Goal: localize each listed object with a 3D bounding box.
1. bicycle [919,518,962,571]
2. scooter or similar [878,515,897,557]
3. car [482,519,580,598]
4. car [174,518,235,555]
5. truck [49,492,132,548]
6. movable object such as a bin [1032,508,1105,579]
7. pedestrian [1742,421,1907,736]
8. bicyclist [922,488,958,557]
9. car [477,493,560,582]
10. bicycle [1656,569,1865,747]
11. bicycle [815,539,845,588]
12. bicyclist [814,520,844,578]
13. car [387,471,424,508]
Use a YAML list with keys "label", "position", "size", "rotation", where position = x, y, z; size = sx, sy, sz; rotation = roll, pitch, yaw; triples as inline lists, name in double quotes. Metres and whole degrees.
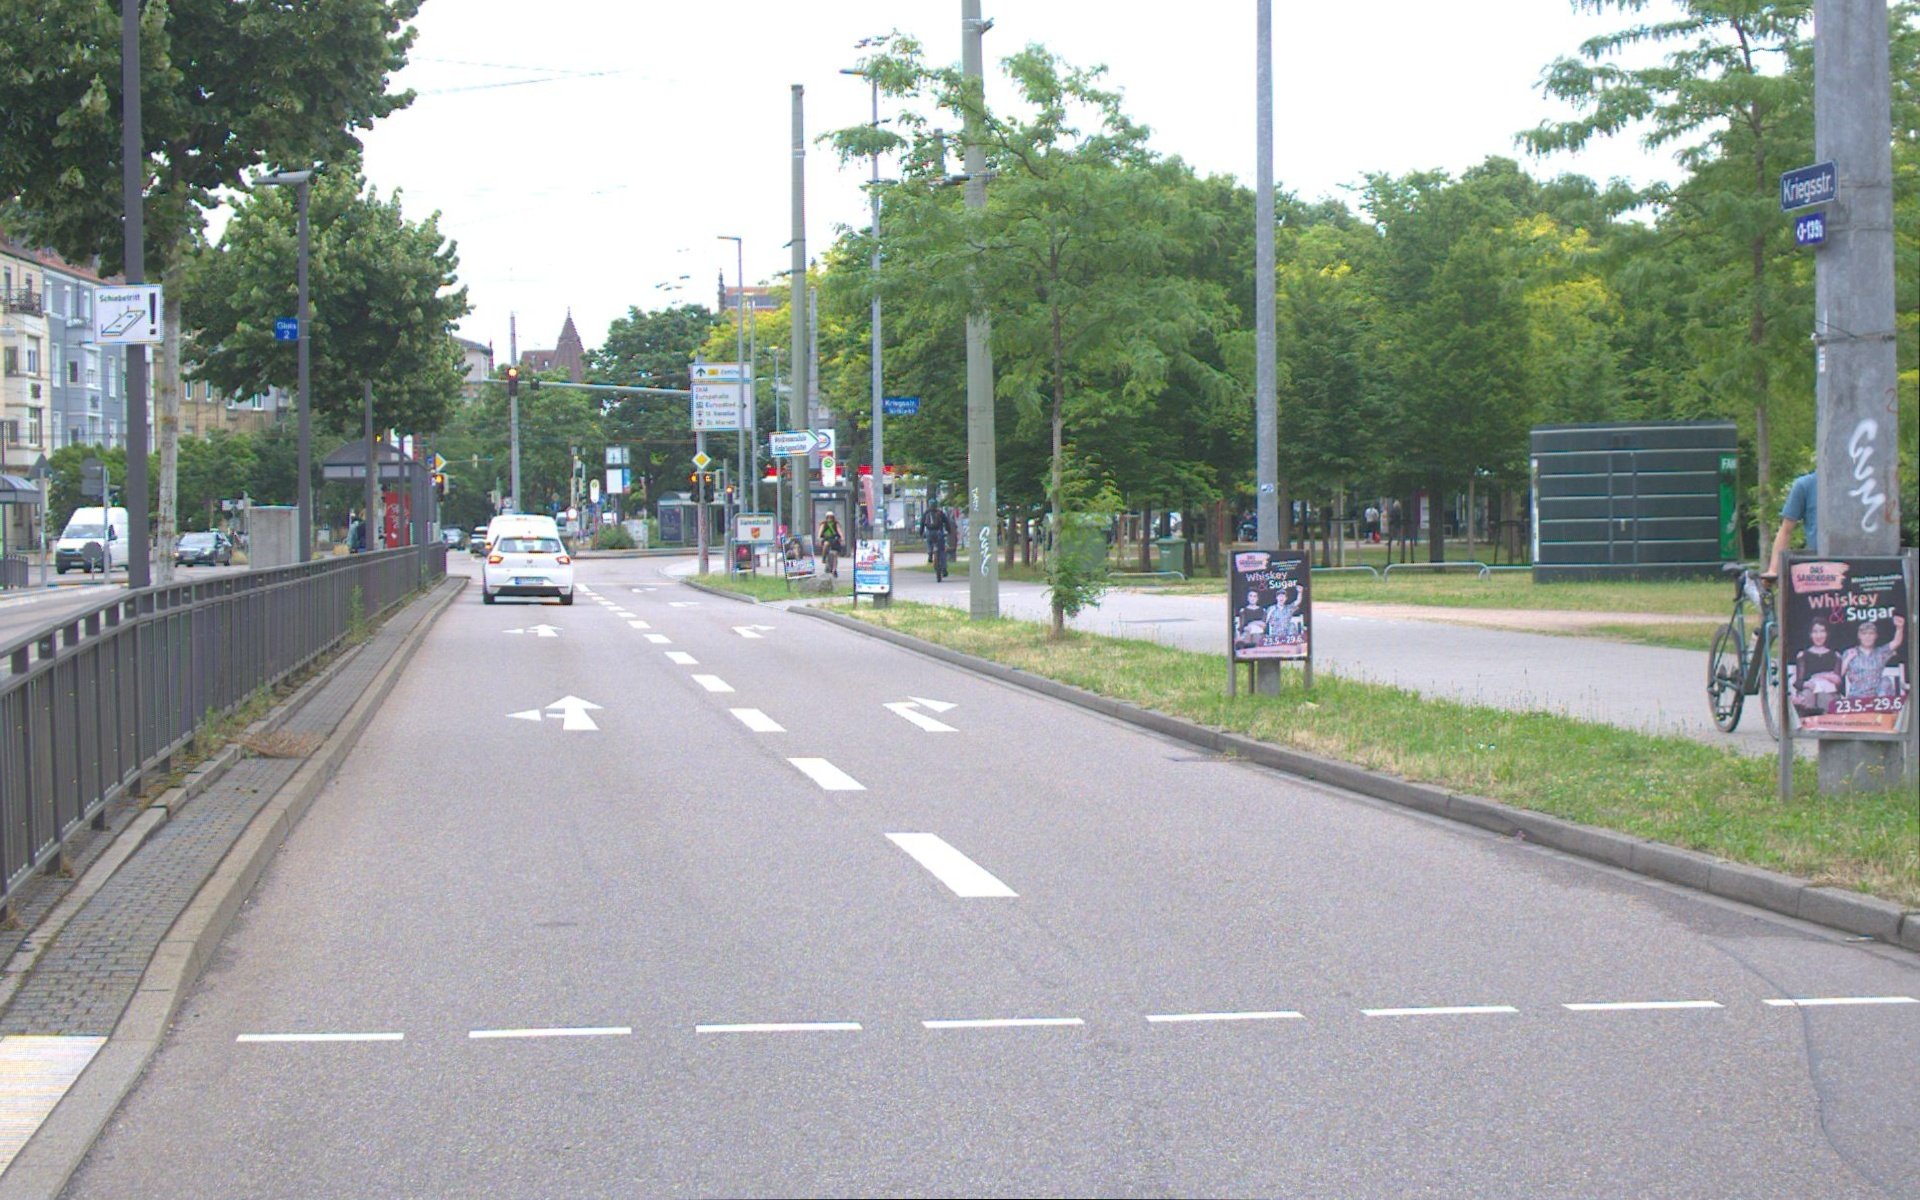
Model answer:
- label: "bicycle"
  position: [-0.441, -1.259, 76.942]
  size: [0.679, 1.151, 1.898]
  rotation: [-2, 2, -8]
- label: "scooter or similar"
  position: [-1.995, -1.768, 94.680]
  size: [0.376, 1.137, 1.199]
  rotation: [-1, 1, 4]
- label: "car"
  position: [-8.391, -0.833, 67.448]
  size: [1.782, 1.467, 4.011]
  rotation: [-1, 2, -6]
- label: "car"
  position: [-31.573, -2.653, 143.754]
  size: [1.770, 1.488, 3.887]
  rotation: [-1, 1, -1]
- label: "truck"
  position: [-32.473, -2.984, 128.577]
  size: [1.787, 2.025, 5.396]
  rotation: [-1, 1, -1]
- label: "movable object such as a bin"
  position: [2.166, -1.137, 68.771]
  size: [1.282, 1.385, 1.159]
  rotation: [-1, 1, -6]
- label: "pedestrian"
  position: [5.249, -0.139, 20.899]
  size: [0.739, 1.863, 0.682]
  rotation: [-2, 1, -8]
- label: "bicyclist"
  position: [-0.455, -1.733, 76.947]
  size: [0.679, 1.532, 0.673]
  rotation: [-2, 1, -8]
- label: "car"
  position: [-10.098, -1.447, 78.466]
  size: [1.782, 1.956, 4.383]
  rotation: [-1, 2, -8]
- label: "bicycle"
  position: [4.855, 0.331, 20.956]
  size: [0.654, 0.999, 1.779]
  rotation: [-1, 1, -7]
- label: "bicycle"
  position: [-3.135, -0.890, 82.965]
  size: [0.679, 1.151, 1.898]
  rotation: [-1, 2, -1]
- label: "bicyclist"
  position: [-3.157, -1.241, 82.963]
  size: [0.679, 1.375, 0.727]
  rotation: [-1, 2, -1]
- label: "car"
  position: [-28.846, -5.748, 178.941]
  size: [1.770, 1.867, 3.888]
  rotation: [-1, 1, -7]
